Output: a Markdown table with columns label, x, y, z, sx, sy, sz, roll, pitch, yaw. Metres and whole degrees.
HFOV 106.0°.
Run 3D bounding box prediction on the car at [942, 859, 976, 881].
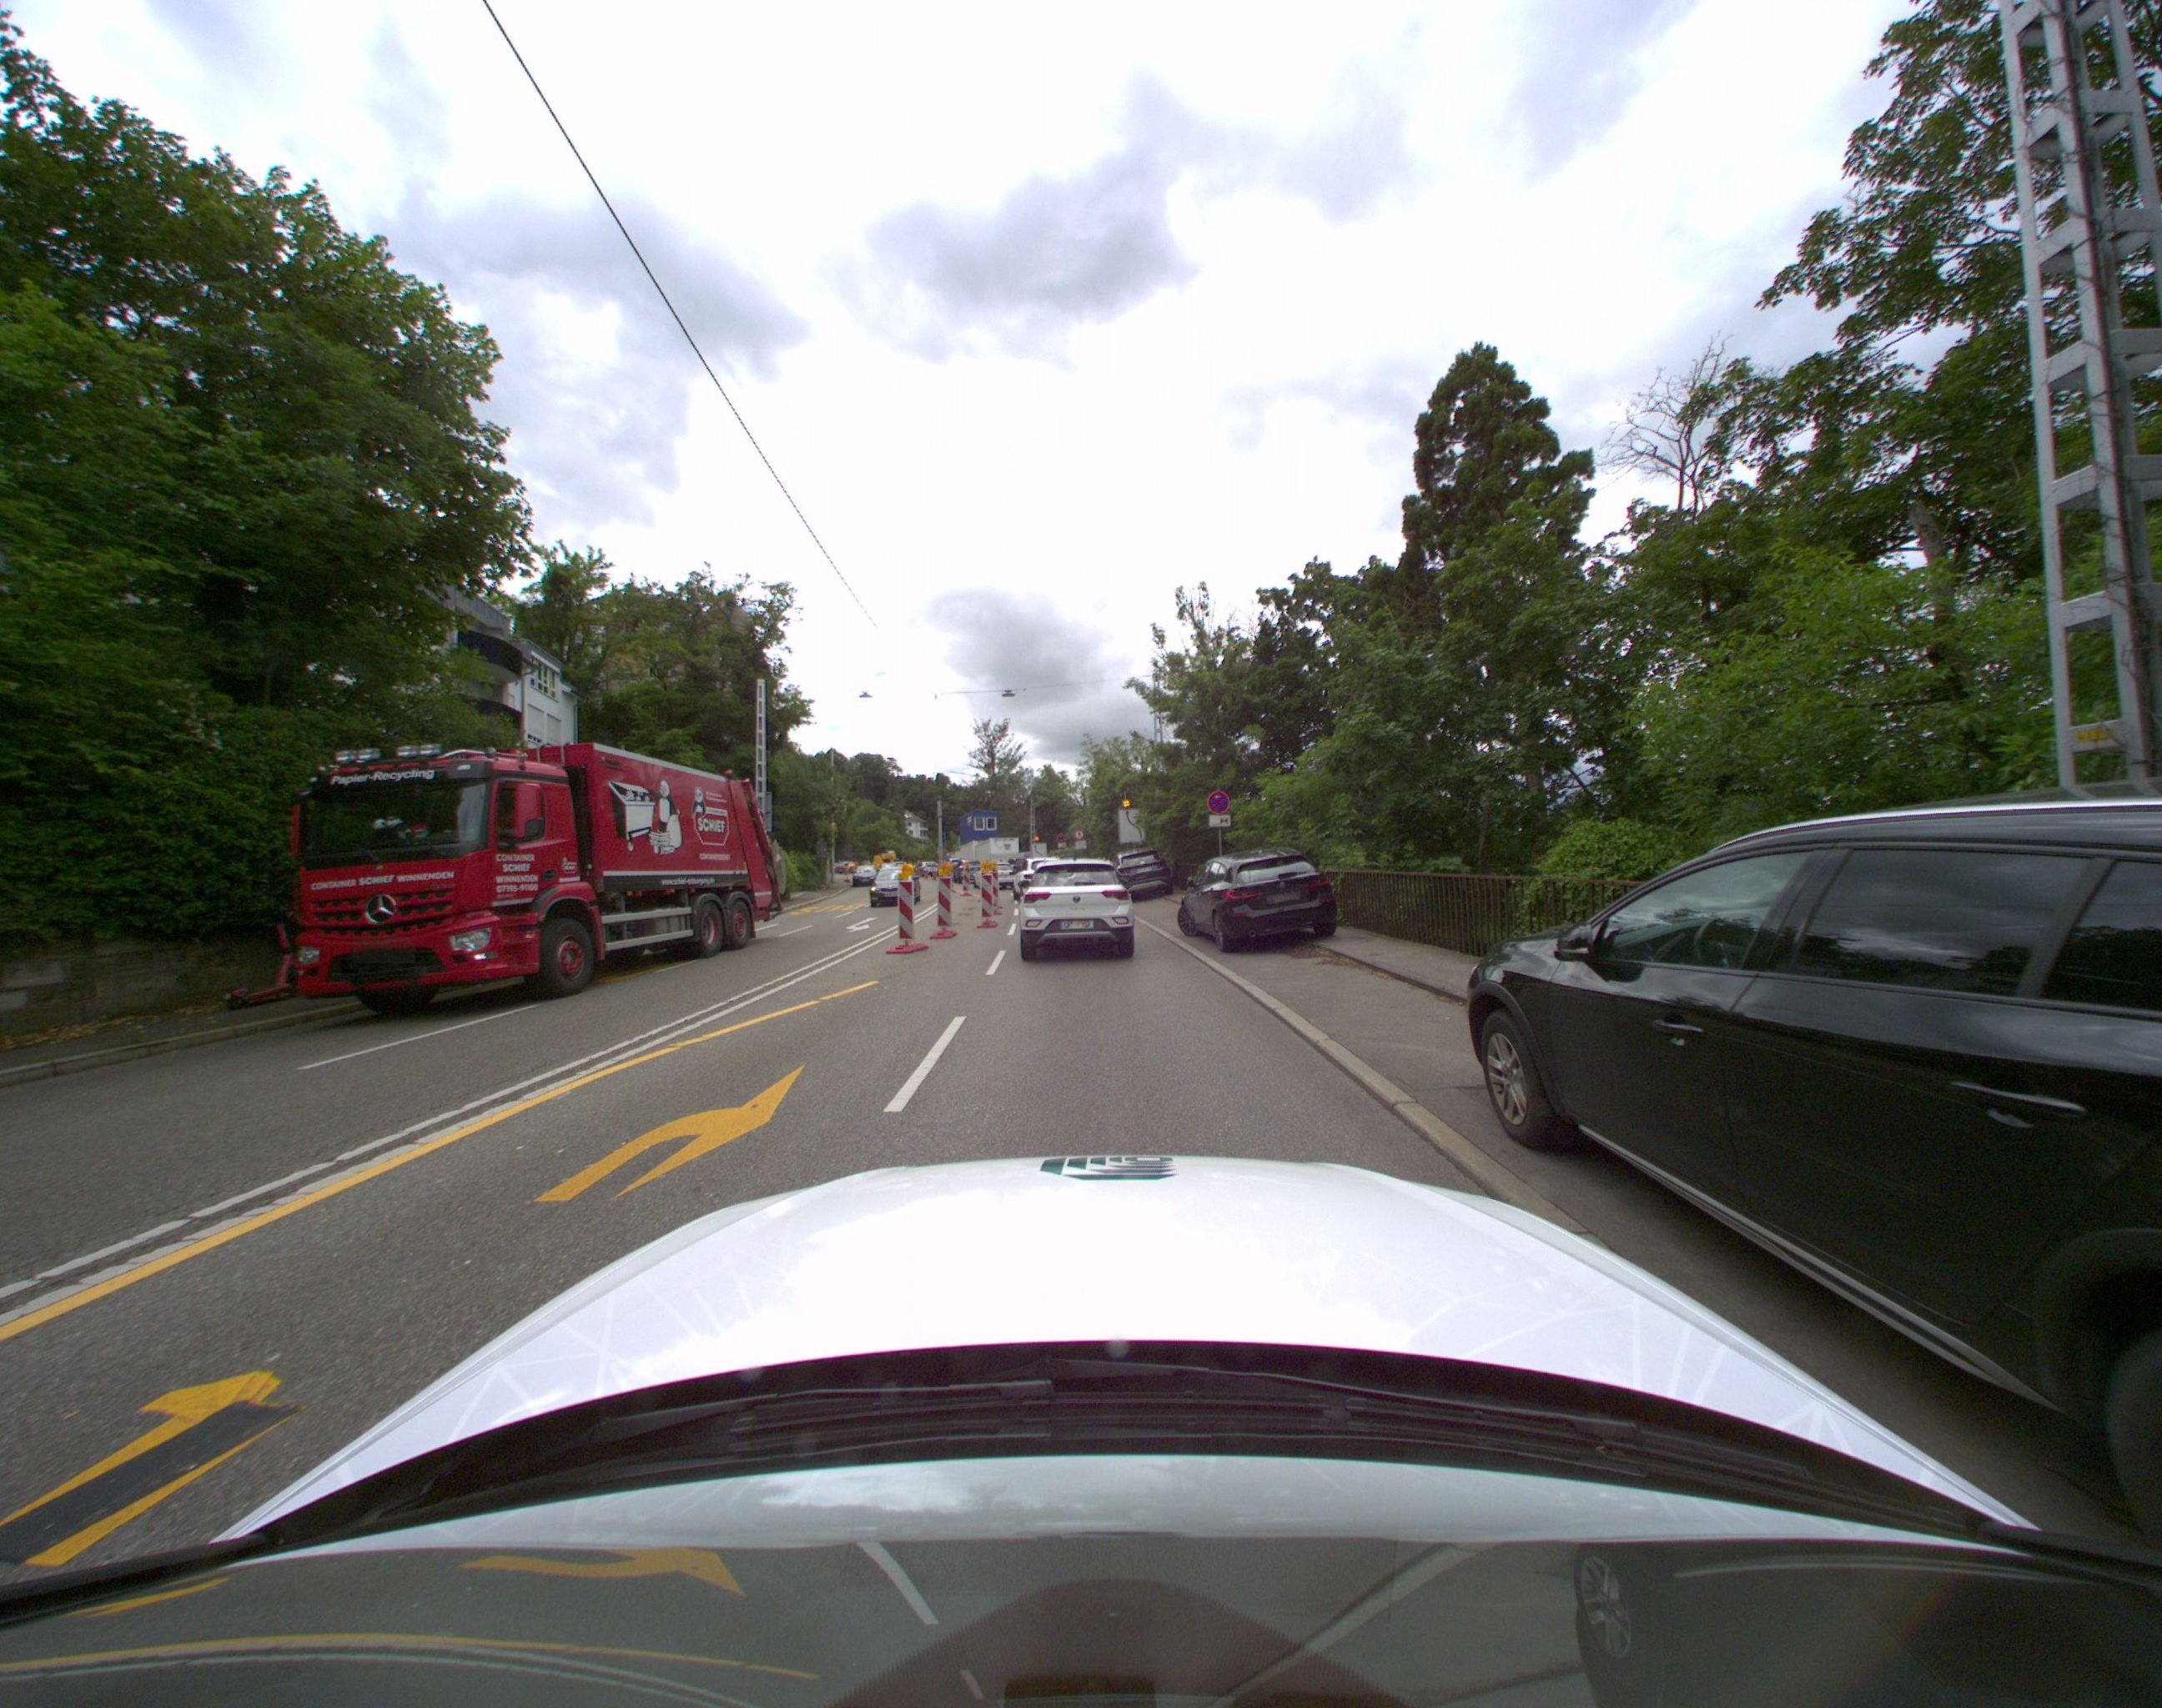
| label | x | y | z | sx | sy | sz | roll | pitch | yaw |
| --- | --- | --- | --- | --- | --- | --- | --- | --- | --- |
| car | -9.553 | 1.221 | 63.522 | 1.998 | 1.556 | 4.126 | -3 | 0 | -17 |

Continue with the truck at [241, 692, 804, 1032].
| label | x | y | z | sx | sy | sz | roll | pitch | yaw |
| --- | --- | --- | --- | --- | --- | --- | --- | --- | --- |
| truck | -8.119 | 0.092 | 14.351 | 2.937 | 3.697 | 9.914 | -4 | 0 | -1 |

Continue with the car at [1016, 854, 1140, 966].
| label | x | y | z | sx | sy | sz | roll | pitch | yaw |
| --- | --- | --- | --- | --- | --- | --- | --- | --- | --- |
| car | -0.134 | 0.821 | 13.777 | 1.754 | 1.555 | 3.791 | -2 | 0 | -3 |

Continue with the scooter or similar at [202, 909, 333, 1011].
| label | x | y | z | sx | sy | sz | roll | pitch | yaw |
| --- | --- | --- | --- | --- | --- | --- | --- | --- | --- |
| scooter or similar | -10.851 | 1.379 | 10.920 | 0.537 | 1.205 | 1.277 | 0 | -1 | -5 |

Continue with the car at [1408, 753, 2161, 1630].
| label | x | y | z | sx | sy | sz | roll | pitch | yaw |
| --- | --- | --- | --- | --- | --- | --- | --- | --- | --- |
| car | 2.786 | 0.528 | 2.601 | 1.758 | 1.521 | 4.397 | -7 | 0 | 3 |

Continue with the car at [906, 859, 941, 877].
| label | x | y | z | sx | sy | sz | roll | pitch | yaw |
| --- | --- | --- | --- | --- | --- | --- | --- | --- | --- |
| car | -14.963 | 1.326 | 77.182 | 2.006 | 1.450 | 4.111 | -3 | -1 | -29 |

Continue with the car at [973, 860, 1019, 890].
| label | x | y | z | sx | sy | sz | roll | pitch | yaw |
| --- | --- | --- | --- | --- | --- | --- | --- | --- | --- |
| car | -4.626 | 1.098 | 44.050 | 1.762 | 1.471 | 3.773 | -2 | 0 | -17 |

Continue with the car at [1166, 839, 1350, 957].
| label | x | y | z | sx | sy | sz | roll | pitch | yaw |
| --- | --- | --- | --- | --- | --- | --- | --- | --- | --- |
| car | 2.772 | 0.635 | 13.805 | 1.804 | 1.463 | 4.188 | -8 | 0 | -4 |

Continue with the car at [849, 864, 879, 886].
| label | x | y | z | sx | sy | sz | roll | pitch | yaw |
| --- | --- | --- | --- | --- | --- | --- | --- | --- | --- |
| car | -15.086 | 1.445 | 56.708 | 1.898 | 1.382 | 3.981 | -3 | 0 | -14 |

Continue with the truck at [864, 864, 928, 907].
| label | x | y | z | sx | sy | sz | roll | pitch | yaw |
| --- | --- | --- | --- | --- | --- | --- | --- | --- | --- |
| truck | -7.138 | 1.187 | 31.753 | 1.658 | 1.443 | 4.022 | -3 | 0 | -3 |

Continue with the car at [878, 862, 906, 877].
| label | x | y | z | sx | sy | sz | roll | pitch | yaw |
| --- | --- | --- | --- | --- | --- | --- | --- | --- | --- |
| car | -20.455 | 1.650 | 88.077 | 2.005 | 1.450 | 4.113 | -3 | -1 | -28 |

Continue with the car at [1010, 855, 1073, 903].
| label | x | y | z | sx | sy | sz | roll | pitch | yaw |
| --- | --- | --- | --- | --- | --- | --- | --- | --- | --- |
| car | -1.530 | 0.875 | 29.905 | 1.758 | 1.609 | 3.781 | -2 | 0 | -11 |

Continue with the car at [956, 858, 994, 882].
| label | x | y | z | sx | sy | sz | roll | pitch | yaw |
| --- | --- | --- | --- | --- | --- | --- | --- | --- | --- |
| car | -7.127 | 1.102 | 54.634 | 1.997 | 1.414 | 4.130 | -4 | -1 | -14 |

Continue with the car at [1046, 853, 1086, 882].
| label | x | y | z | sx | sy | sz | roll | pitch | yaw |
| --- | --- | --- | --- | --- | --- | --- | --- | --- | --- |
| car | -0.985 | 0.830 | 50.129 | 1.716 | 1.518 | 3.645 | -5 | 0 | -11 |

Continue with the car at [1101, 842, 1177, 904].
| label | x | y | z | sx | sy | sz | roll | pitch | yaw |
| --- | --- | --- | --- | --- | --- | --- | --- | --- | --- |
| car | 1.905 | 0.618 | 28.098 | 1.846 | 1.656 | 4.136 | -10 | 0 | -4 |

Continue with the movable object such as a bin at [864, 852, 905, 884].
| label | x | y | z | sx | sy | sz | roll | pitch | yaw |
| --- | --- | --- | --- | --- | --- | --- | --- | --- | --- |
| movable object such as a bin | -24.850 | 1.833 | 102.576 | 3.549 | 3.699 | 7.432 | -3 | 0 | -25 |
